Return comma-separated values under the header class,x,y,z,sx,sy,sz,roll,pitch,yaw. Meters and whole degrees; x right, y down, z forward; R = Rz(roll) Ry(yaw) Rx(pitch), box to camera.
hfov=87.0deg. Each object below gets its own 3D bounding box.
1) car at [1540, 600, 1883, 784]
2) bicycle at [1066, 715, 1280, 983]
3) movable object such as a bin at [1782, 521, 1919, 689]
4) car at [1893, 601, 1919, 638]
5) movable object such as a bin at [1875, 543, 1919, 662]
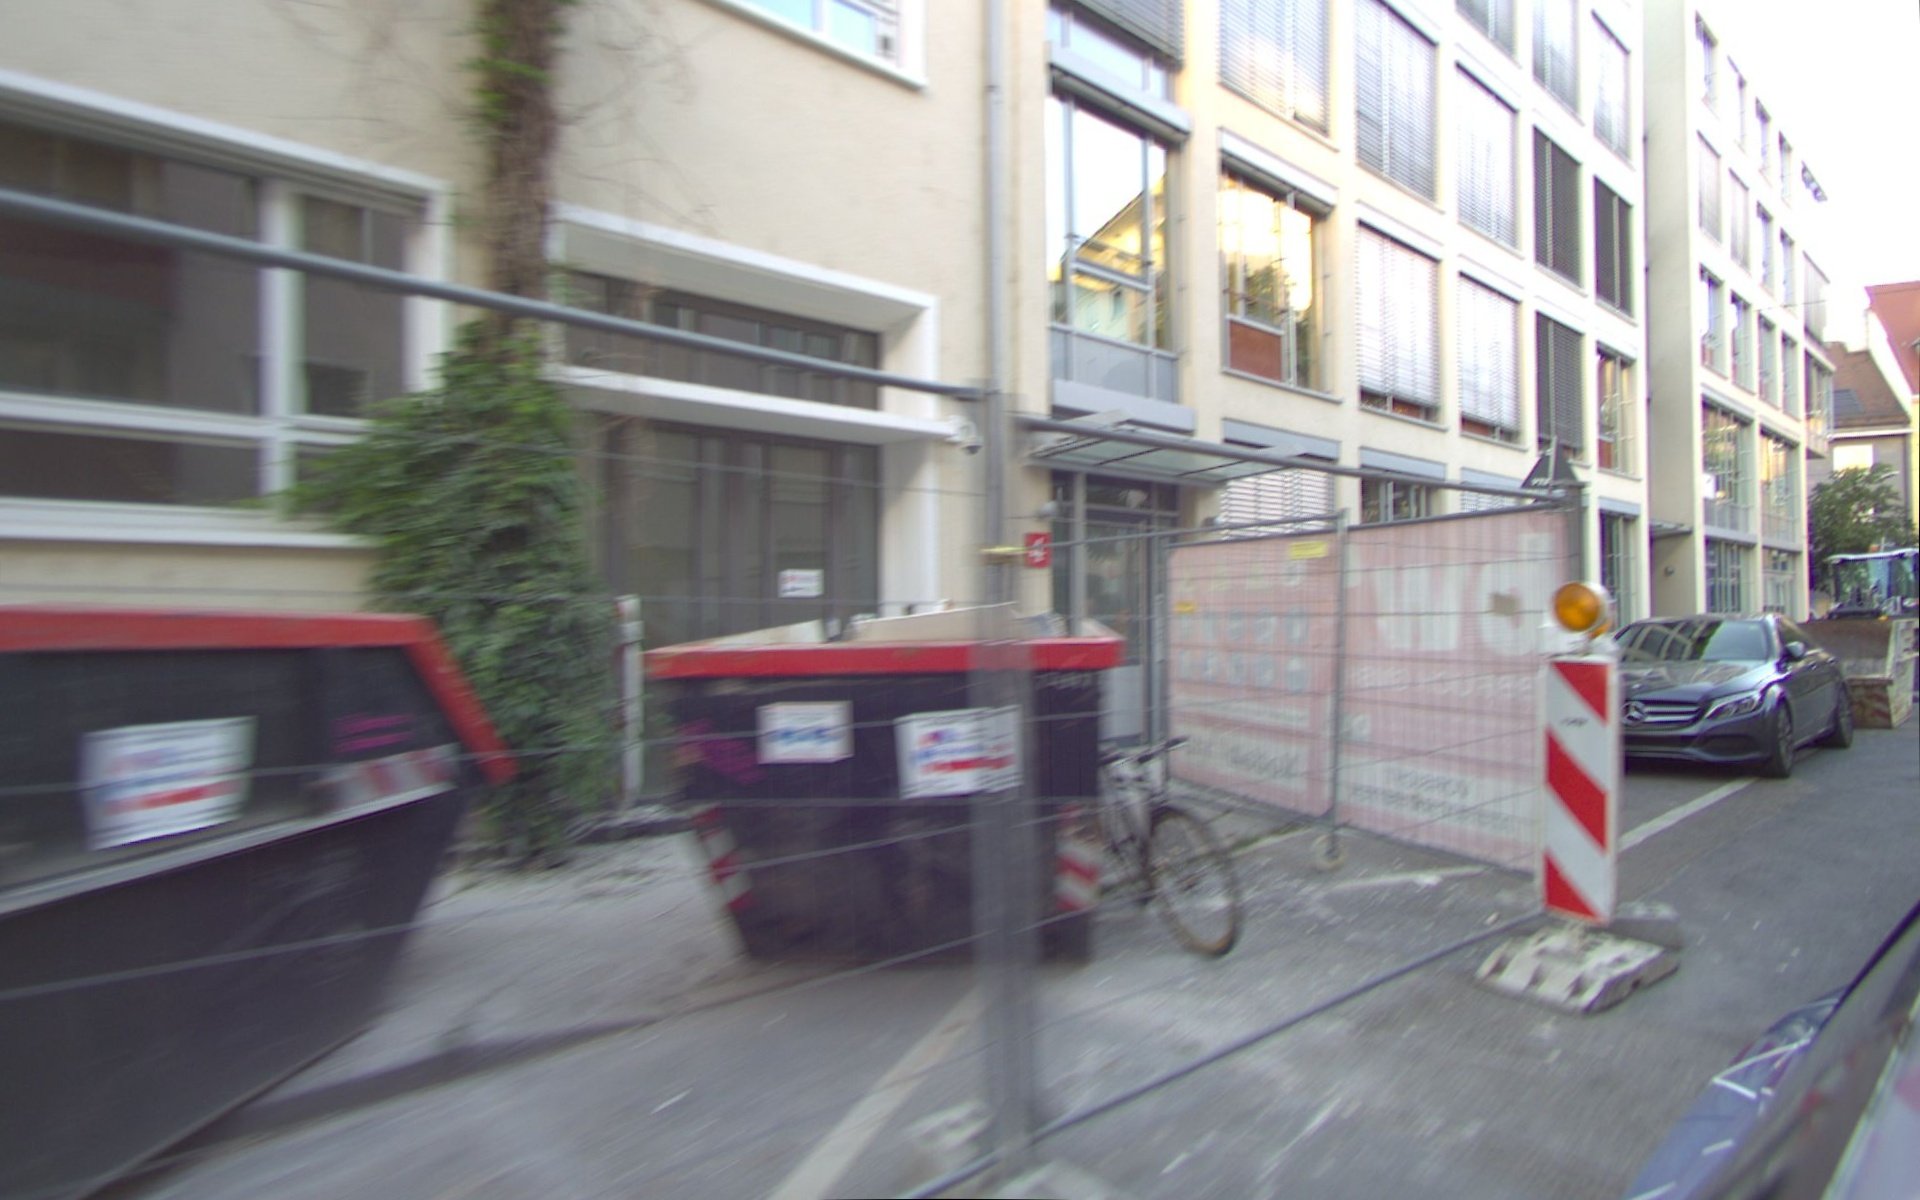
class,x,y,z,sx,sy,sz,roll,pitch,yaw
car,7.498,0.736,9.935,4.399,1.424,1.696,0,-2,-40
bicycle,0.929,1.067,4.761,0.389,0.909,1.494,0,-1,-13
movable object such as a bin,16.677,0.073,18.049,5.446,2.629,2.169,0,-1,-41
car,44.420,0.886,46.262,1.729,1.545,3.330,-1,1,28
movable object such as a bin,23.095,0.052,23.718,4.036,2.668,1.800,0,-1,-39
